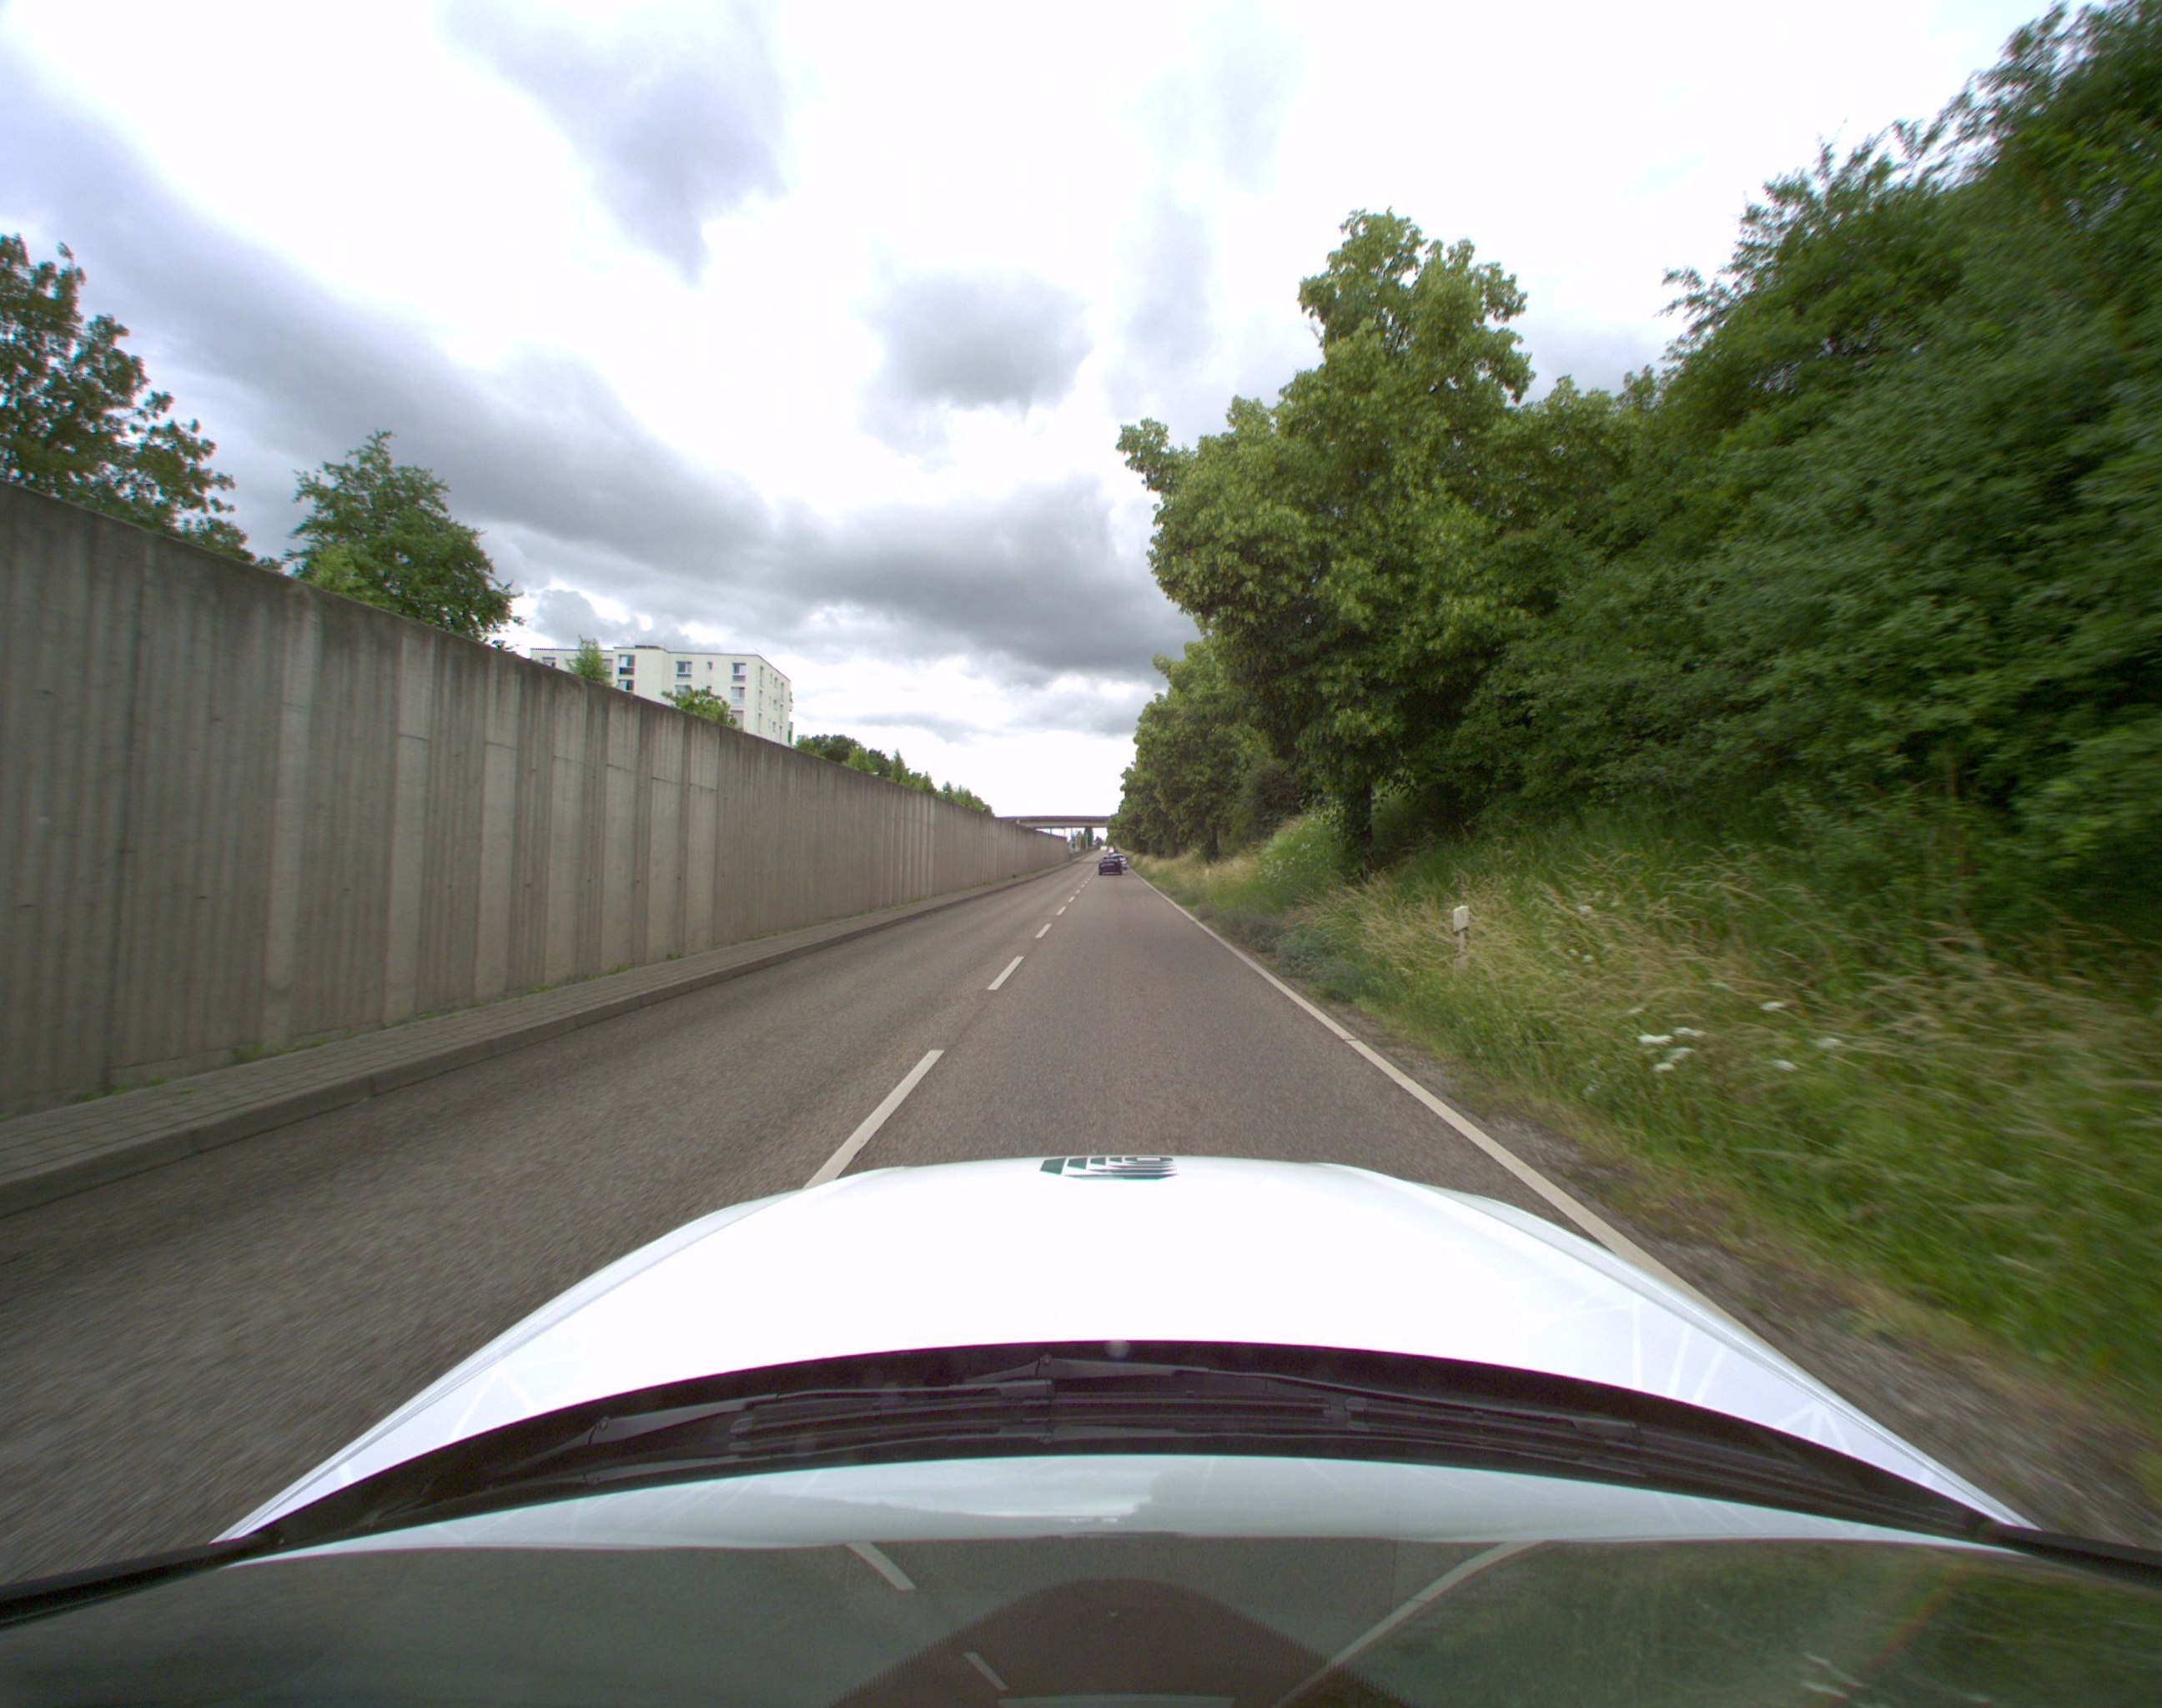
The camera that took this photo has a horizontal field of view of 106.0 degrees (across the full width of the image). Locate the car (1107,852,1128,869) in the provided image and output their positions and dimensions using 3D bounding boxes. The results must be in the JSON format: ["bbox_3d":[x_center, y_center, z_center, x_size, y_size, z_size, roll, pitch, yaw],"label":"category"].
[{"bbox_3d":[3.410,0.646,76.976,1.748,1.523,4.036,-2,-1,1],"label":"car"}]

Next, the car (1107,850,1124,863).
[{"bbox_3d":[4.135,0.269,98.187,1.860,1.490,4.257,2,0,0],"label":"car"}]

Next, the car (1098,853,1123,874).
[{"bbox_3d":[2.220,0.681,61.830,1.748,1.523,4.038,-1,0,2],"label":"car"}]
